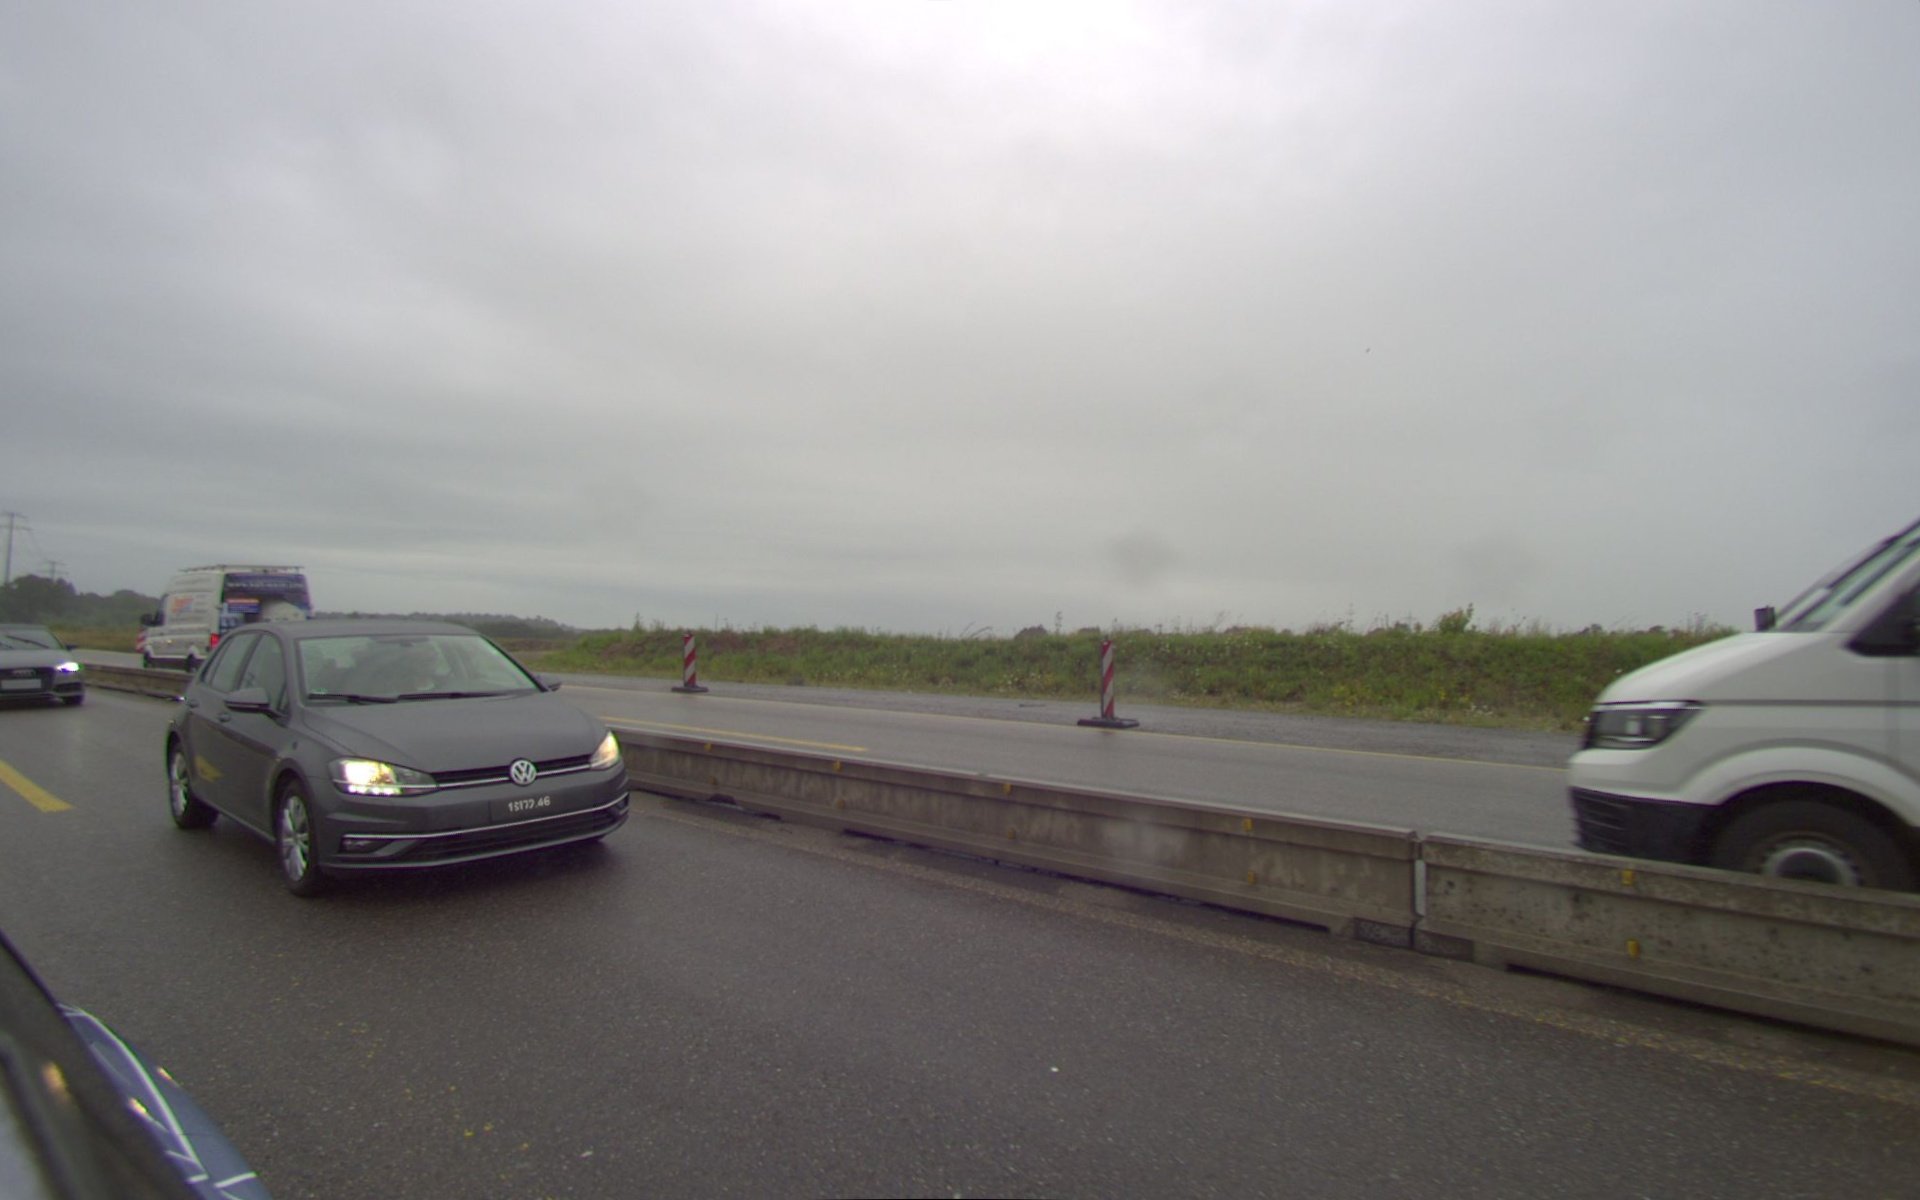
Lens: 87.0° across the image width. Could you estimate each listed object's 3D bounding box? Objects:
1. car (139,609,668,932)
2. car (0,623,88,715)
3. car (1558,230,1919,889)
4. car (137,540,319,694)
[{"bbox_3d":[-3.757,0.786,6.511,4.077,1.433,1.633,0,0,40],"label":"car"},{"bbox_3d":[-16.992,1.156,17.881,4.266,1.407,1.777,0,0,40],"label":"car"},{"bbox_3d":[5.715,-0.185,3.535,5.955,2.568,2.003,-2,-2,41],"label":"car"},{"bbox_3d":[-16.447,0.387,22.597,5.775,3.036,1.973,-2,-1,40],"label":"car"}]
